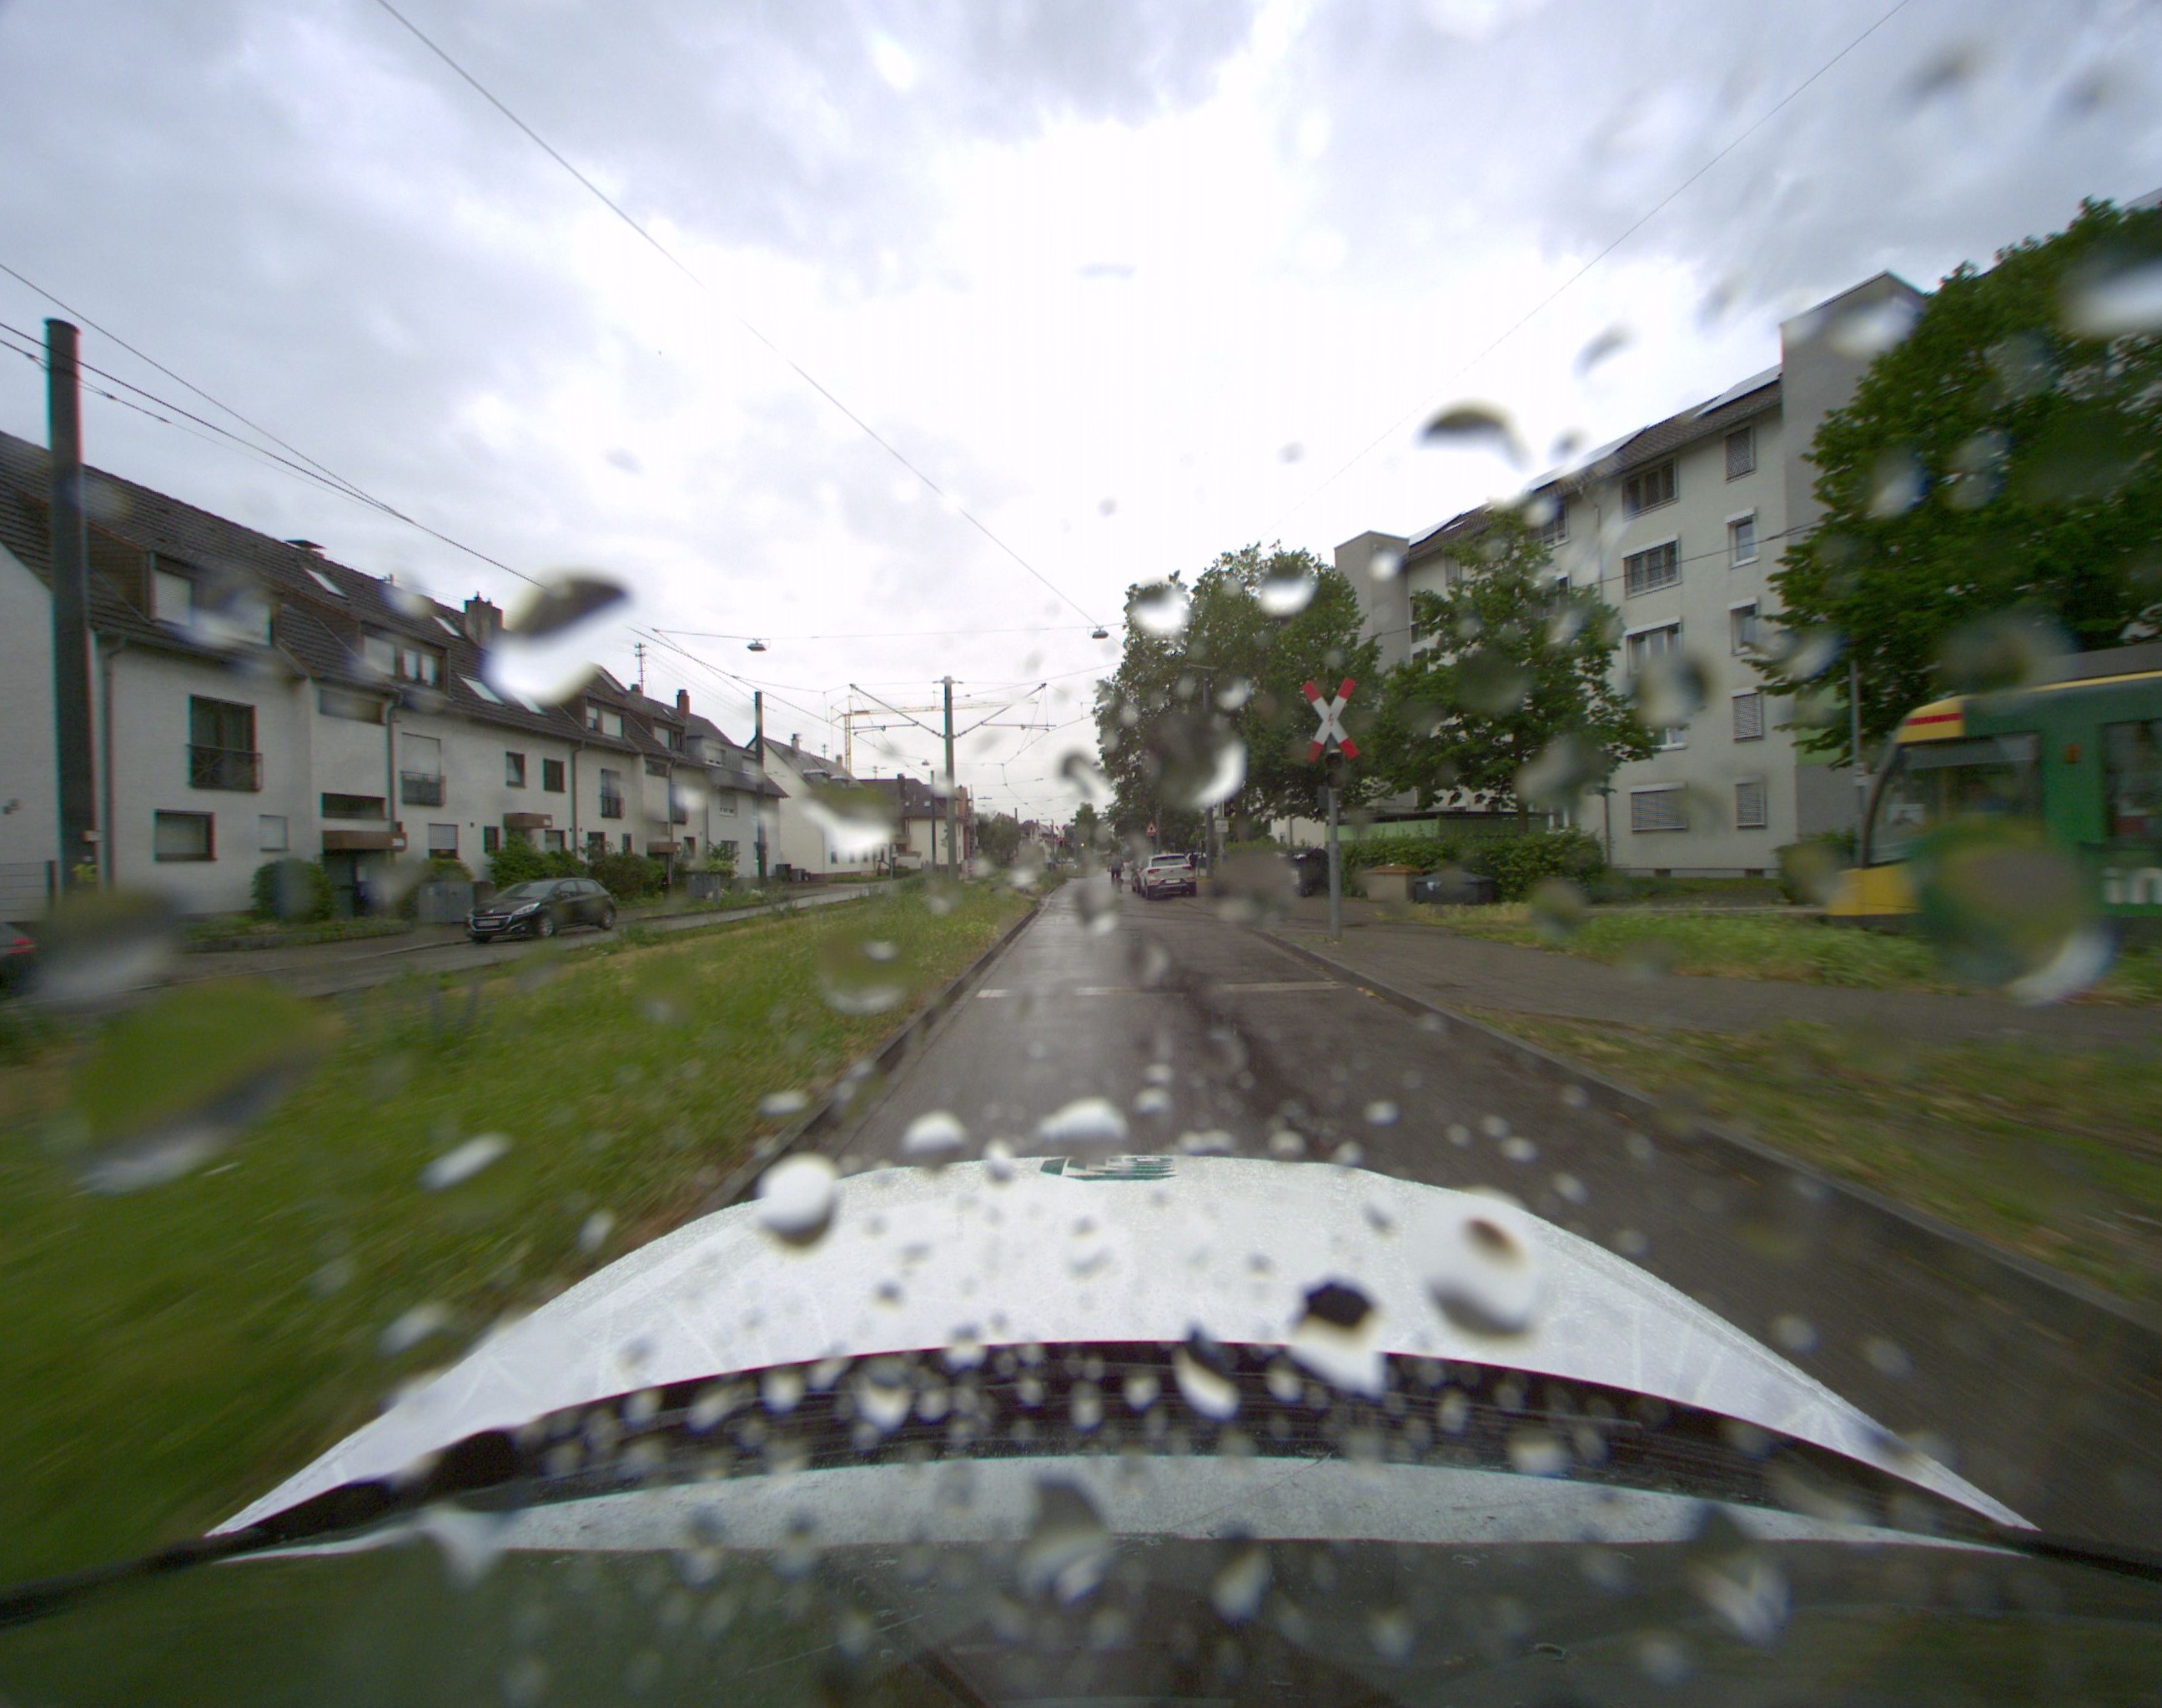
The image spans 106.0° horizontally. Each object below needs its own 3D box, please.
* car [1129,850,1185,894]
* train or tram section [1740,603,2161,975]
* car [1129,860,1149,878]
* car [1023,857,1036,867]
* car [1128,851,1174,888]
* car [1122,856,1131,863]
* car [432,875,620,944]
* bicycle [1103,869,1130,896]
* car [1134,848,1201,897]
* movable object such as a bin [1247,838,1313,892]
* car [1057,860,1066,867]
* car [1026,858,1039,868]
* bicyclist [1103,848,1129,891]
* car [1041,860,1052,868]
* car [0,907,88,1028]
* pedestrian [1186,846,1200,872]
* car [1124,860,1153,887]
[{"bbox_3d":[3.208,0.769,34.996,1.936,1.652,3.999,-3,-1,0],"label":"car"},{"bbox_3d":[14.209,-0.727,5.731,2.729,3.590,14.559,1,-2,-42],"label":"train or tram section"},{"bbox_3d":[6.918,1.759,97.089,1.936,2.013,3.999,-3,-1,0],"label":"car"},{"bbox_3d":[-9.294,1.441,146.968,1.986,1.544,4.001,-2,-2,2],"label":"car"},{"bbox_3d":[3.518,0.792,41.692,1.936,1.652,3.999,-3,-1,0],"label":"car"},{"bbox_3d":[10.728,1.323,193.968,1.986,1.492,4.000,-2,-2,1],"label":"car"},{"bbox_3d":[-13.775,1.345,20.567,1.870,1.504,4.133,-2,-2,0],"label":"car"},{"bbox_3d":[1.305,1.036,30.200,0.819,0.912,1.984,-2,-1,-2],"label":"bicycle"},{"bbox_3d":[3.110,0.669,30.024,1.949,1.553,3.999,-4,-1,0],"label":"car"},{"bbox_3d":[6.701,0.361,27.492,1.556,1.704,1.489,-2,0,-23],"label":"movable object such as a bin"},{"bbox_3d":[-4.736,2.397,201.631,1.986,1.544,4.001,-2,-2,2],"label":"car"},{"bbox_3d":[-9.096,1.608,151.671,1.986,1.705,4.001,-2,-2,2],"label":"car"},{"bbox_3d":[1.283,0.578,30.128,0.829,1.558,0.913,-2,-1,-2],"label":"bicyclist"},{"bbox_3d":[-7.485,2.103,176.649,1.986,1.544,4.001,-2,-2,2],"label":"car"},{"bbox_3d":[-13.807,1.337,8.287,1.595,1.424,4.666,-2,-2,1],"label":"car"},{"bbox_3d":[7.442,0.335,54.293,0.745,1.716,0.750,-3,-1,1],"label":"pedestrian"},{"bbox_3d":[4.590,1.539,65.407,1.936,2.013,3.999,-3,-1,0],"label":"car"}]
